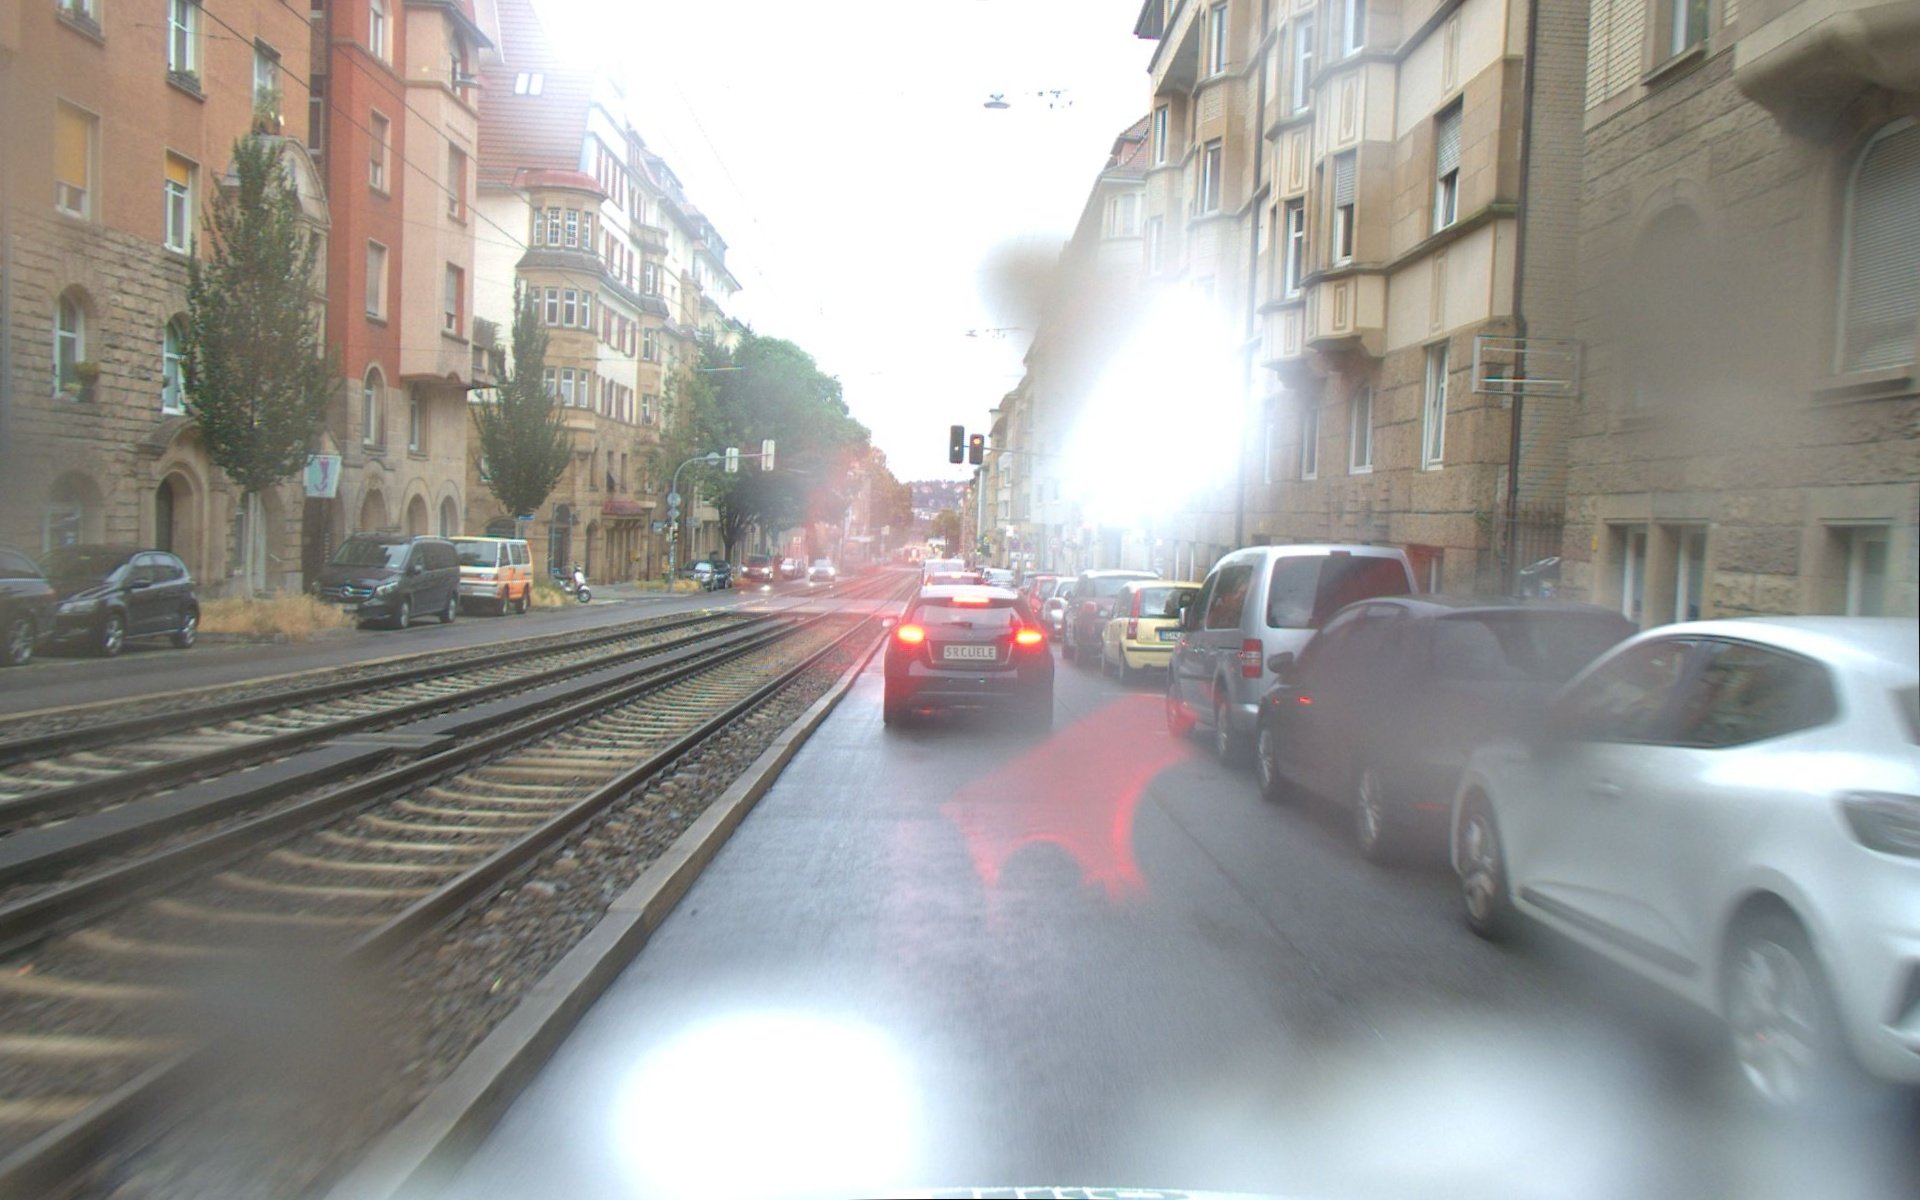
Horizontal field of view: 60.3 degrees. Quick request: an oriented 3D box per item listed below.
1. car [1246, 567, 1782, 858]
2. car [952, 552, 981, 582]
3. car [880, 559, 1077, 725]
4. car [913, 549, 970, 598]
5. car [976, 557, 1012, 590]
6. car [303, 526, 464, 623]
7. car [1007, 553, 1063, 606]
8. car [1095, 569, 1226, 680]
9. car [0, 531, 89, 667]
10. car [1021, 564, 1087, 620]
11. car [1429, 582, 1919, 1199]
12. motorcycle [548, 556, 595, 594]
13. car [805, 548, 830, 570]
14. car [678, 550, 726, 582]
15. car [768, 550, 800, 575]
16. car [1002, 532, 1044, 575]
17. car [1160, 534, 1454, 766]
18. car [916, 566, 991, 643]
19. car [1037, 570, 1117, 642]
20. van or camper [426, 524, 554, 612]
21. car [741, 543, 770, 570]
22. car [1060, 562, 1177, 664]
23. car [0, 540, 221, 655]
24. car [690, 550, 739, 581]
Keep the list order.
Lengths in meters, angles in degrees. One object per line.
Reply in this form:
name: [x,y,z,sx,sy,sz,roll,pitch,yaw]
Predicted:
car: [3.199,0.554,10.501,1.953,1.466,3.999,1,1,-2]
car: [0.391,-2.100,107.179,1.815,1.828,3.811,1,0,0]
car: [0.127,0.393,18.052,1.907,1.592,3.642,1,0,-2]
car: [-0.717,-1.012,61.313,1.883,1.684,3.998,2,2,-3]
car: [1.944,-1.531,95.913,1.733,1.807,3.997,1,0,-4]
car: [-12.234,-0.554,35.404,1.953,1.934,4.697,0,1,-2]
car: [2.322,-0.677,52.108,1.518,1.534,4.000,3,1,0]
car: [3.012,0.317,25.403,1.527,1.504,3.461,3,1,0]
car: [-12.031,-0.043,18.447,1.953,1.535,4.974,4,1,-1]
car: [2.631,-0.251,46.812,1.570,1.443,3.148,2,1,-2]
car: [3.154,0.718,6.088,1.642,1.435,4.000,1,2,-1]
motorcycle: [-12.600,-0.816,53.643,1.410,1.154,0.619,3,1,29]
car: [-10.413,-2.982,121.357,1.760,1.575,3.997,1,1,-4]
car: [-12.731,-1.662,81.895,1.735,1.489,4.000,1,1,0]
car: [-13.303,-2.838,125.402,1.953,1.825,4.000,2,1,0]
car: [3.158,-2.327,83.590,1.860,2.063,4.176,1,0,0]
car: [3.008,0.344,15.268,1.738,1.807,4.360,1,1,0]
car: [-0.143,0.047,36.690,1.504,1.536,4.000,2,1,0]
car: [2.759,0.107,39.591,1.604,1.569,3.466,2,1,0]
van or camper: [-12.167,-0.835,43.146,1.955,1.933,4.697,-7,1,-2]
car: [-13.363,-2.835,108.147,1.755,1.721,3.995,2,1,-6]
car: [2.804,0.184,30.026,1.676,1.656,4.000,2,1,0]
car: [-12.020,-0.083,23.296,1.609,1.422,3.882,2,1,-3]
car: [-12.933,-1.827,87.214,1.953,1.544,4.000,2,1,0]
